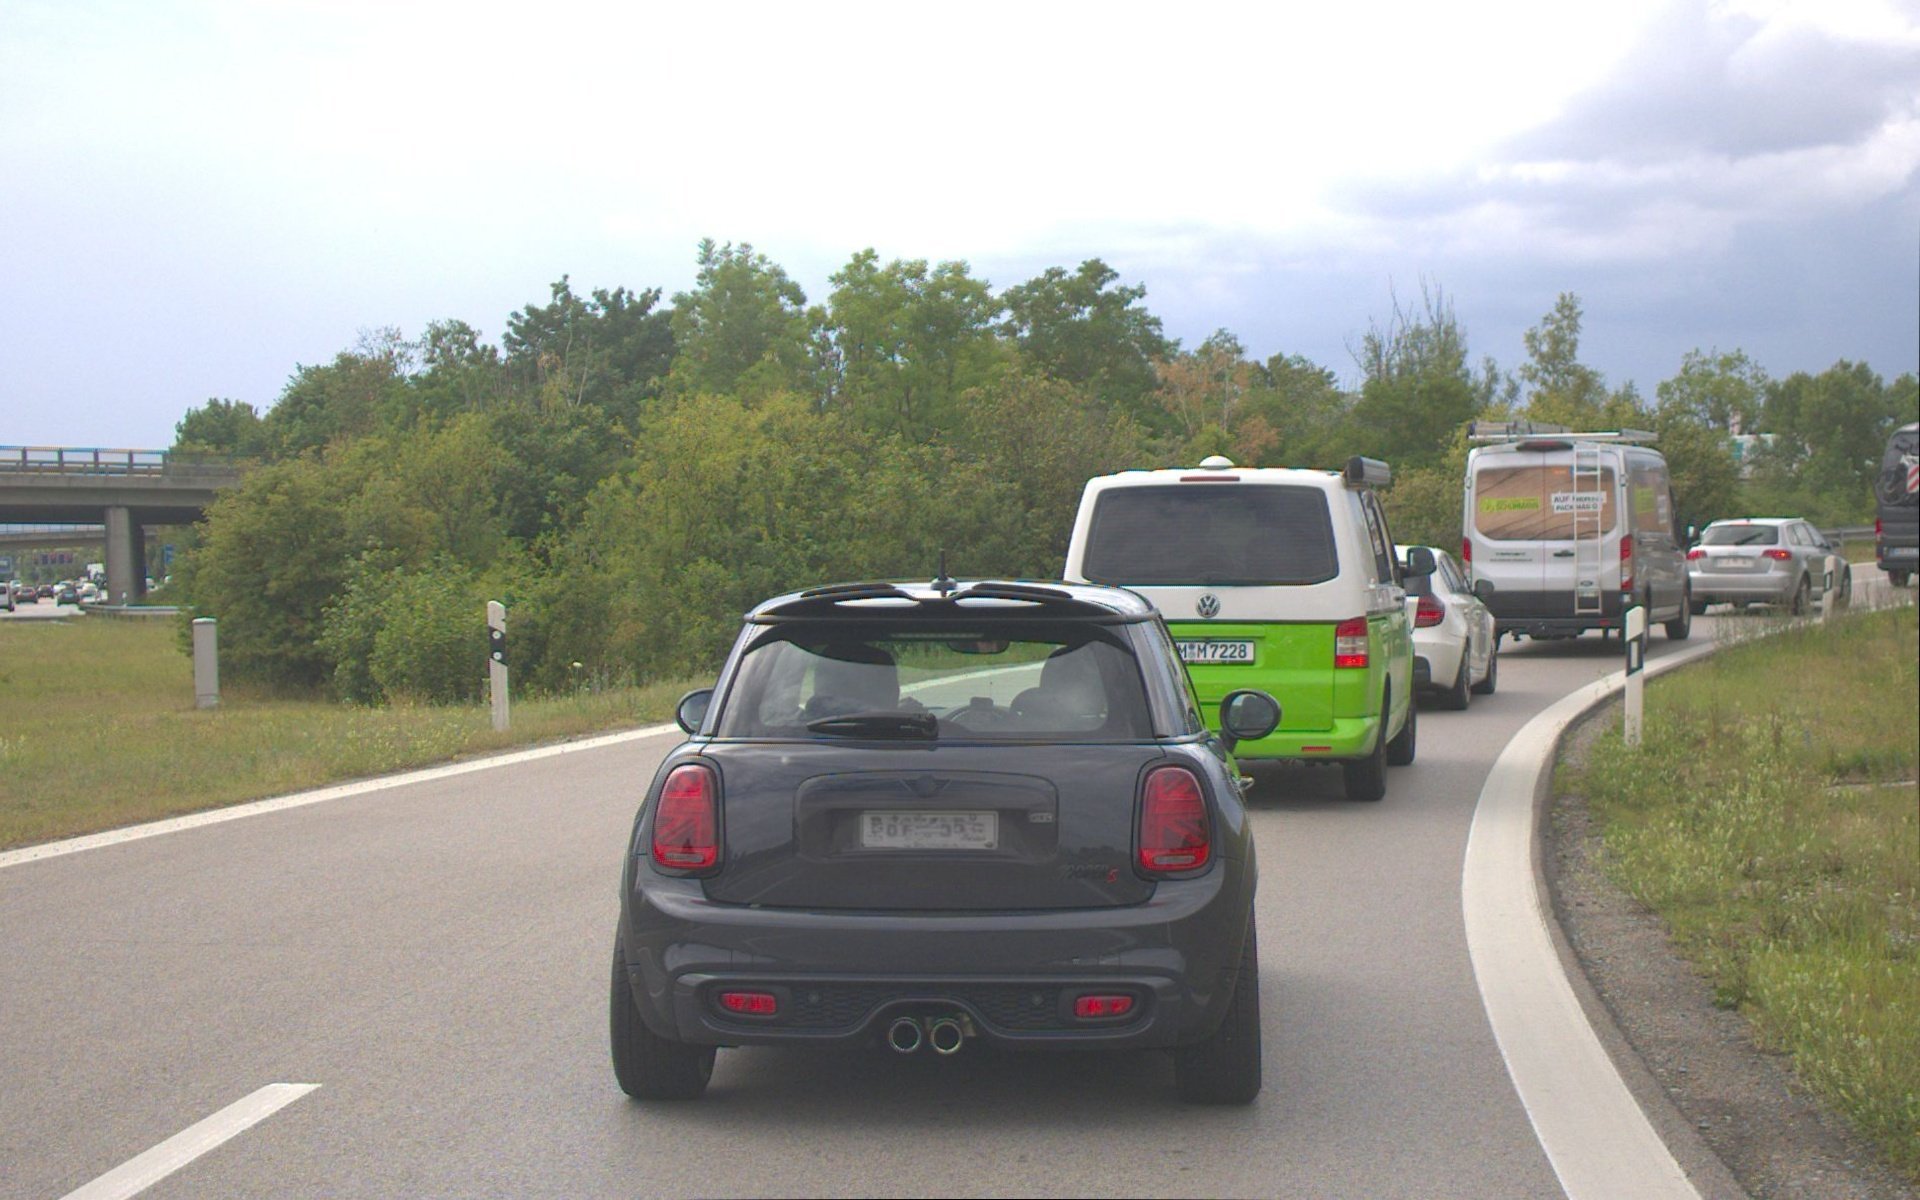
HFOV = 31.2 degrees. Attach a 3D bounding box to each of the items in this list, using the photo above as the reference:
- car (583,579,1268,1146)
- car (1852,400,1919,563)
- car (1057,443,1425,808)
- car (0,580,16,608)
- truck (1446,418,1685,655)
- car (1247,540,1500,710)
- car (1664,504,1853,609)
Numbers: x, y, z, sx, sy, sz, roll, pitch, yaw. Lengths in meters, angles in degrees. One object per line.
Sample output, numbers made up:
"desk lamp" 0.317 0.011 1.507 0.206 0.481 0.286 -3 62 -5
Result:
"car" 0.036 0.646 10.514 1.727 1.409 3.724 0 0 4
"car" 17.283 -2.044 60.440 2.108 2.787 3.993 1 1 30
"car" 1.815 0.121 21.030 1.785 2.007 3.998 0 0 11
"car" -60.254 -0.383 215.394 1.876 1.745 4.488 -1 0 -11
"truck" 7.346 -0.765 41.273 2.180 2.649 5.104 0 1 17
"car" 3.705 0.192 30.321 1.763 1.394 3.723 -1 0 14
"car" 11.992 -0.644 51.483 1.869 1.505 3.994 0 0 27
